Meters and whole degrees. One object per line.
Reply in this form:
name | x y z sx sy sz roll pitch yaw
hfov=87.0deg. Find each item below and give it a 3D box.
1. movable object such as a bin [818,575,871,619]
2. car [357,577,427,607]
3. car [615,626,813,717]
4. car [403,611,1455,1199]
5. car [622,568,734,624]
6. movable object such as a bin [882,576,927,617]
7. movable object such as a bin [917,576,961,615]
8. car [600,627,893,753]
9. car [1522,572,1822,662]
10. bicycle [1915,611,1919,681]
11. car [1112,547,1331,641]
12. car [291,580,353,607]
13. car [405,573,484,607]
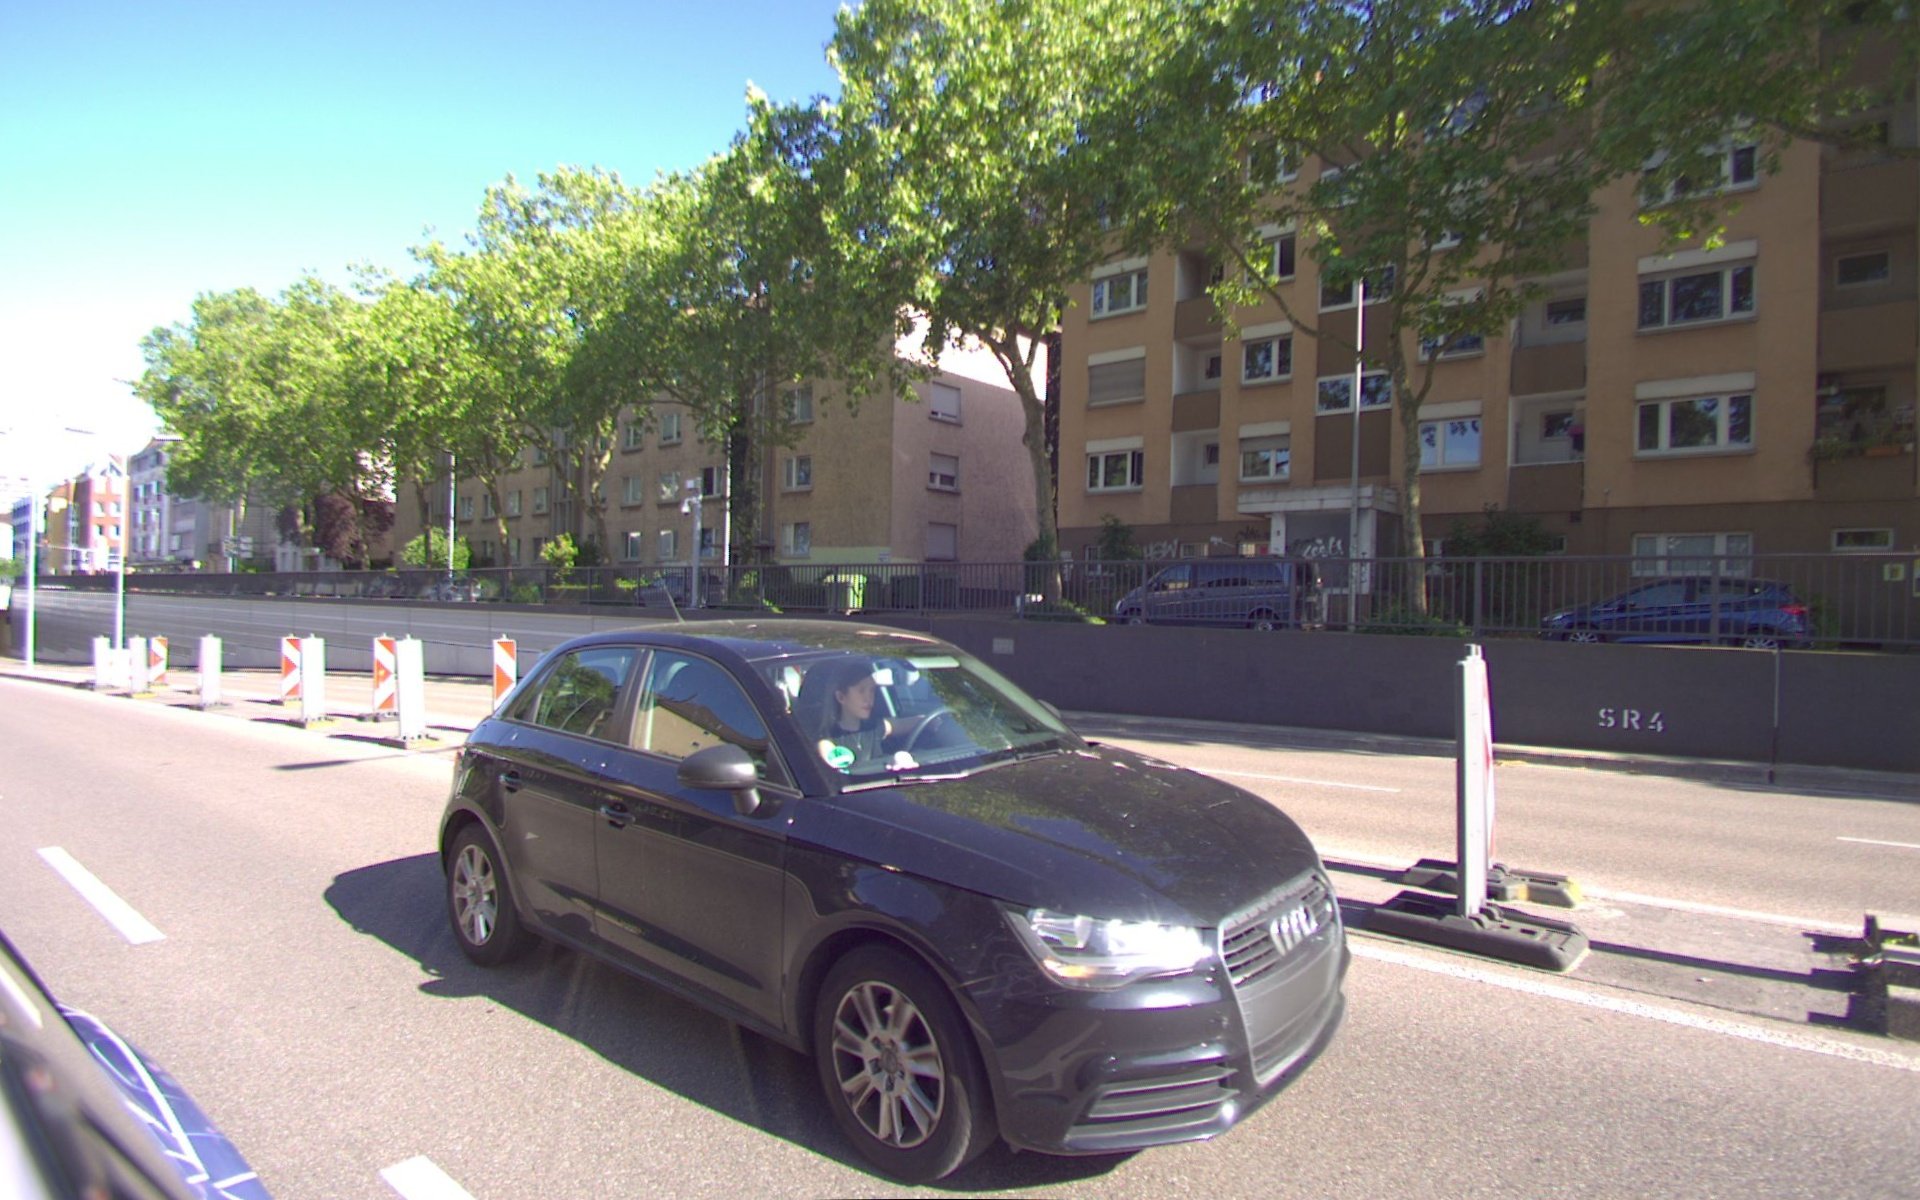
movable object such as a bin | -4.008 -0.095 35.157 1.354 1.495 1.196 0 0 33
car | -31.541 -0.431 56.141 4.299 1.596 1.902 0 0 39
car | -4.489 1.243 18.247 3.714 1.476 1.523 -1 -4 40
car | -0.431 0.776 3.852 3.885 1.429 1.678 0 0 40
car | -10.573 -0.159 37.812 4.411 1.975 1.945 0 0 41
movable object such as a bin | -2.100 -0.132 38.265 1.146 1.495 1.301 0 0 38
movable object such as a bin | -0.806 -0.164 39.450 1.146 1.495 1.301 0 0 38
car | -2.812 1.059 12.864 3.925 1.310 1.523 0 -3 40
car | 12.501 0.264 17.911 4.169 1.399 1.973 0 0 41
bicycle | 13.717 0.624 13.207 1.755 0.934 0.650 0 0 38
car | 5.975 -0.129 23.426 4.522 1.975 1.946 0 0 39
car | -39.093 -0.404 61.962 4.299 1.596 1.902 0 0 39
car | -25.702 -0.476 50.433 4.299 1.596 1.902 0 0 39
